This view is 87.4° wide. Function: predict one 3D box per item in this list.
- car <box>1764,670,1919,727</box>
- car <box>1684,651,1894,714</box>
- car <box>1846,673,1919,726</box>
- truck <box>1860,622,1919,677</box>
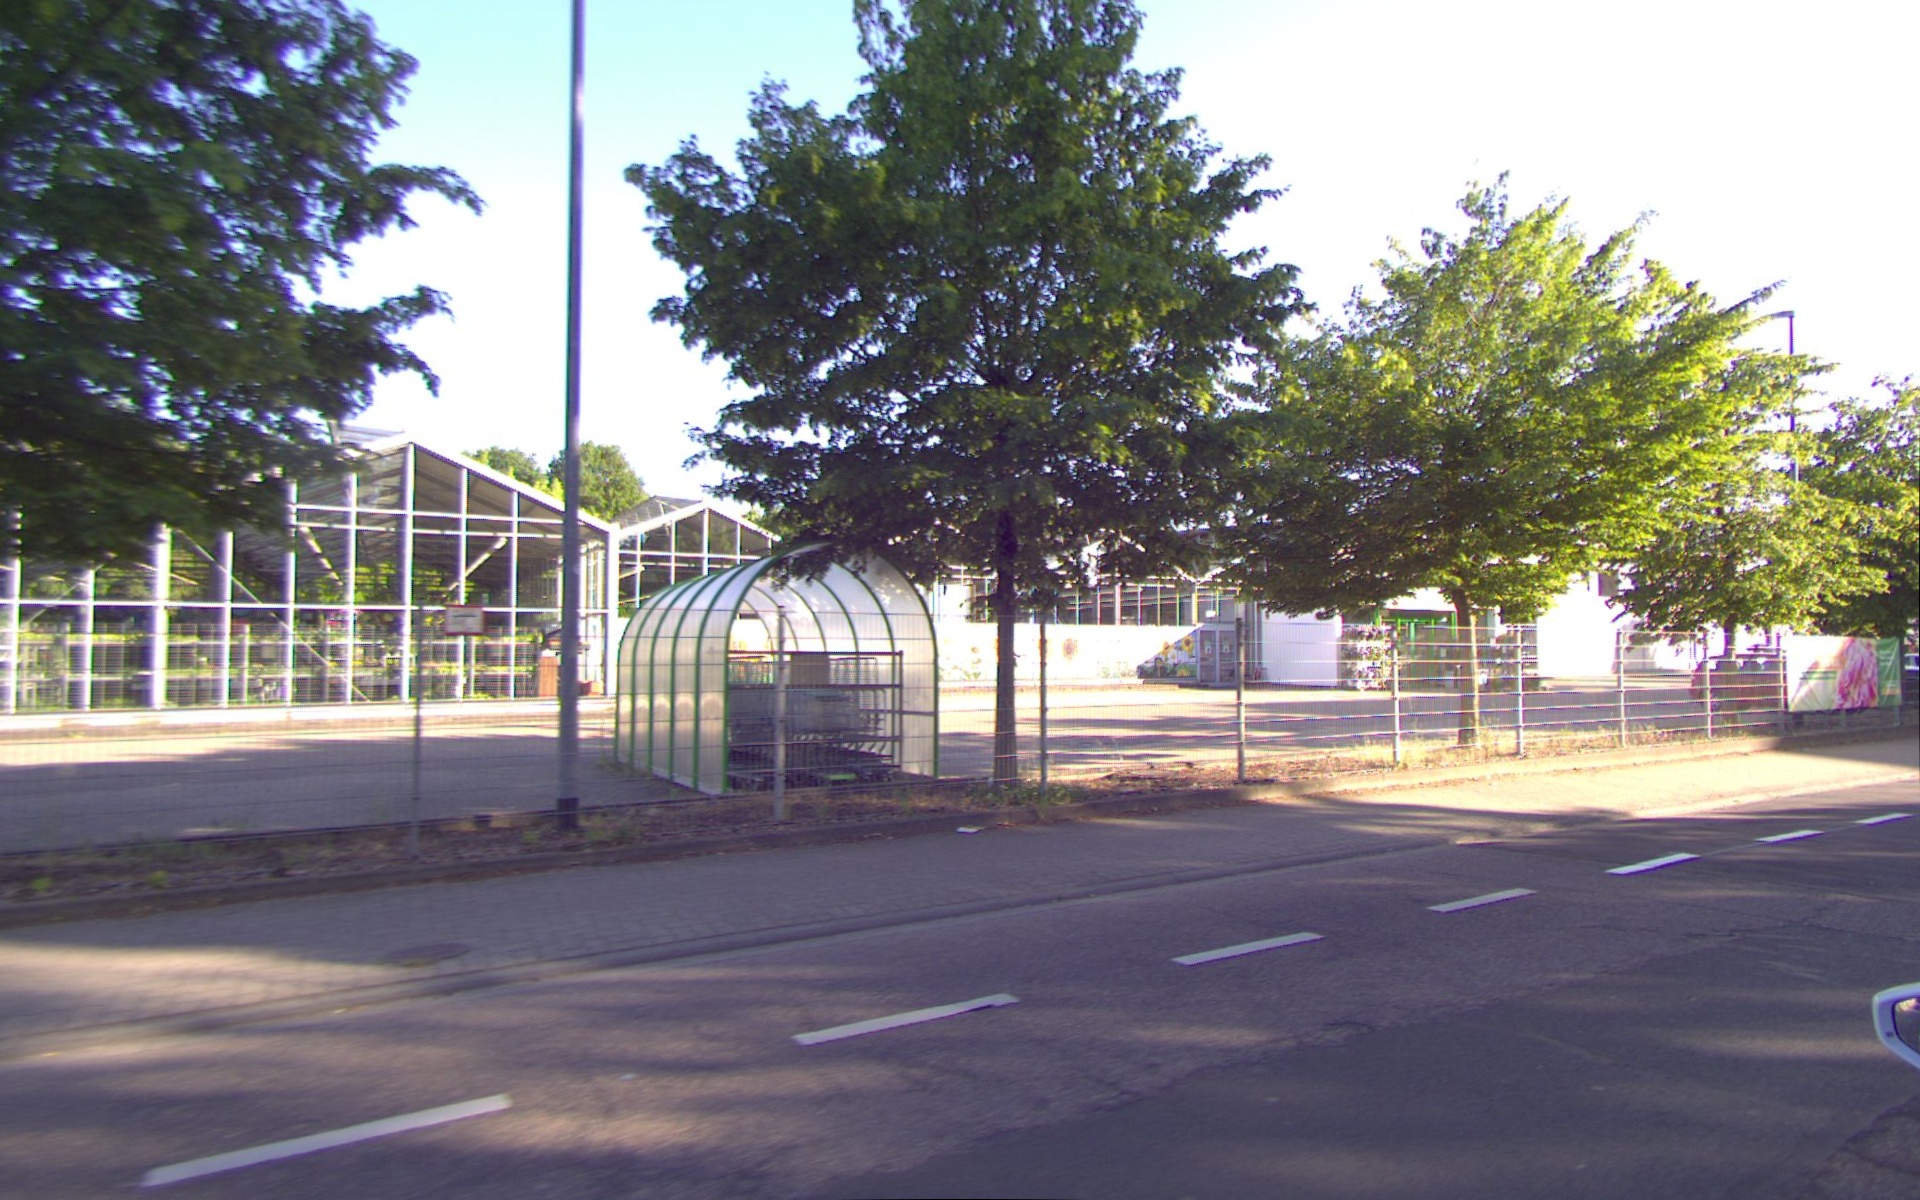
[{"bbox_3d":[25.140,2.709,27.673,2.030,1.469,4.166,3,-6,-31],"label":"car"},{"bbox_3d":[21.028,2.133,25.635,1.785,1.469,3.708,3,-6,-31],"label":"car"},{"bbox_3d":[28.591,2.881,29.195,1.767,1.530,3.870,3,-6,-32],"label":"car"},{"bbox_3d":[65.920,3.325,65.798,2.744,3.661,10.050,3,-3,-30],"label":"truck"}]
